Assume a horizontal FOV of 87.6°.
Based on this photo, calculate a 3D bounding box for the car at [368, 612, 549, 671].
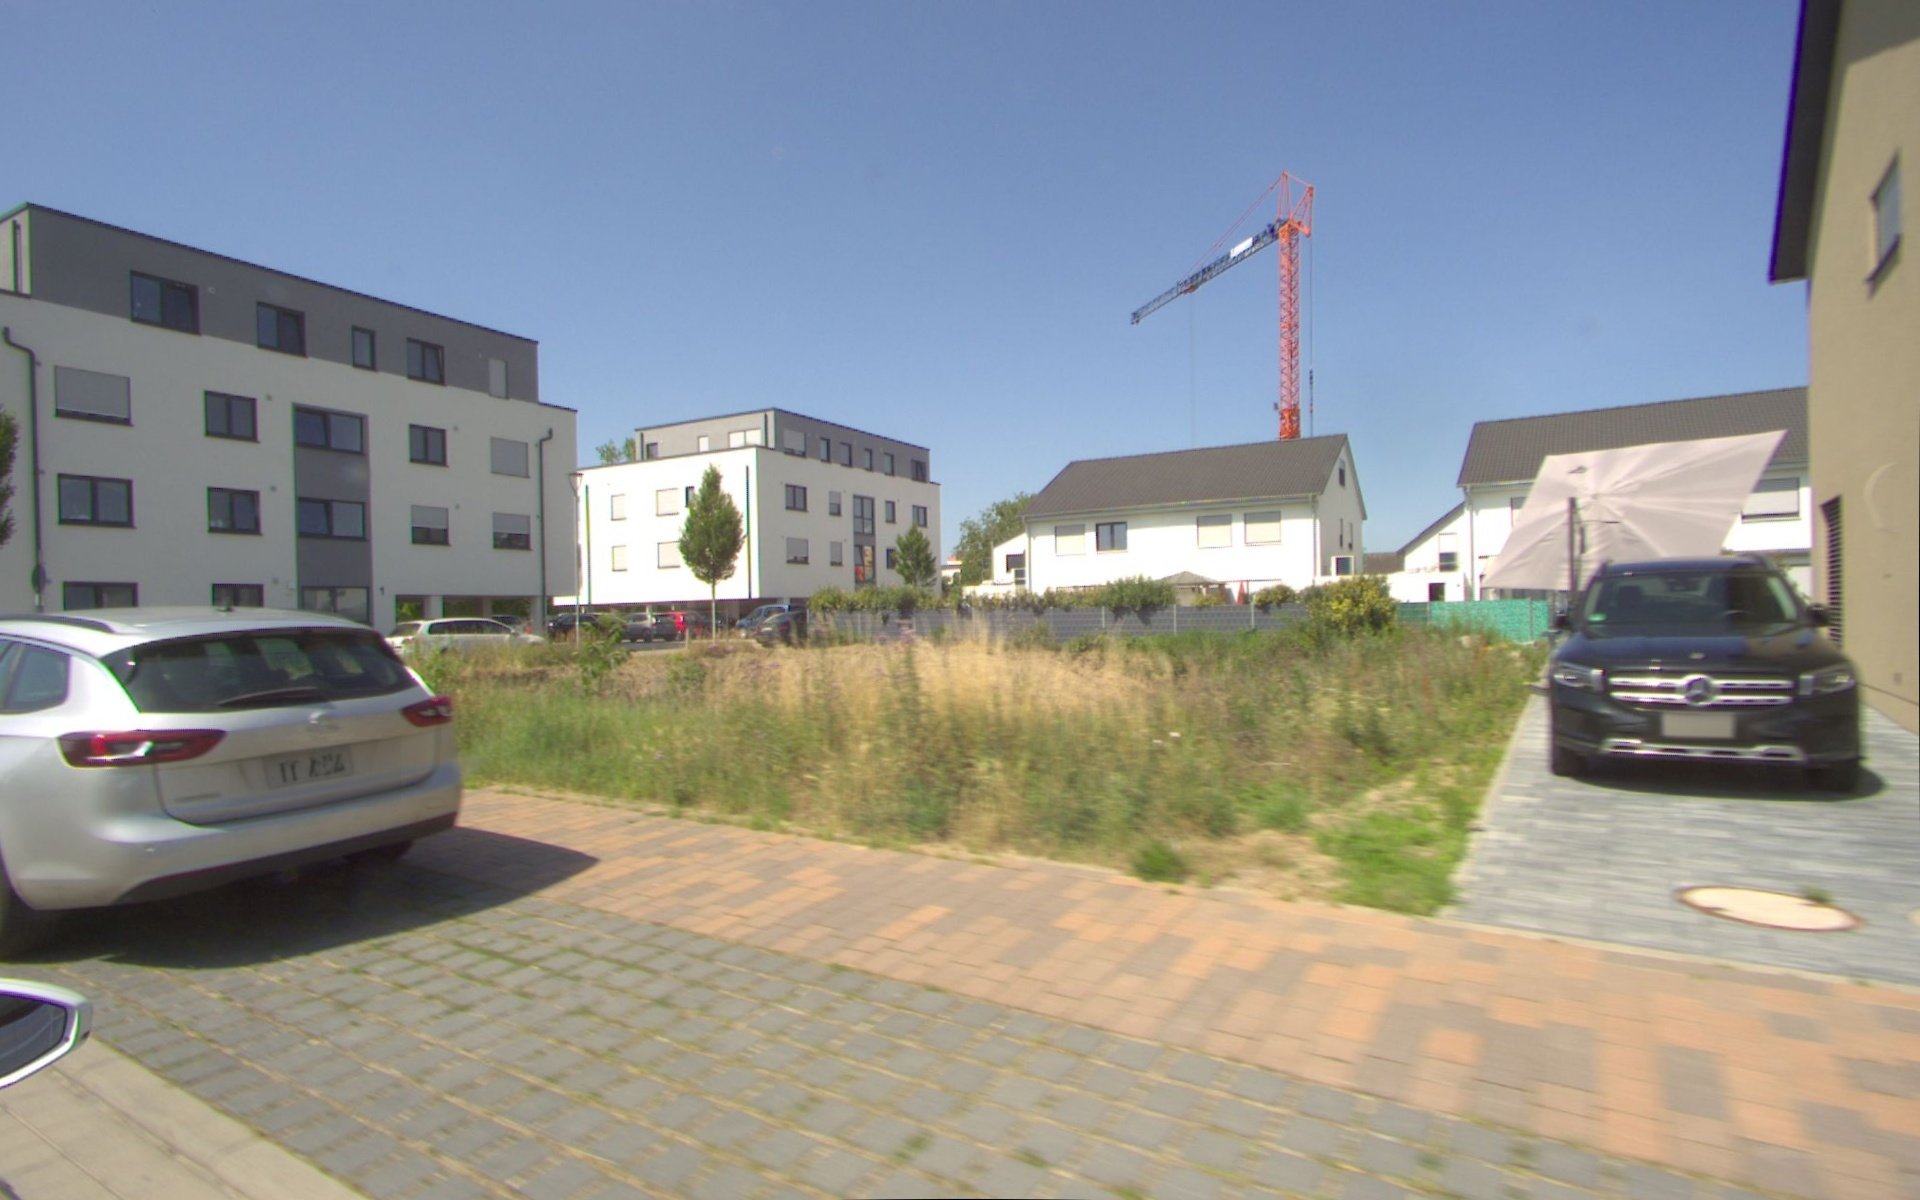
[{"bbox_3d":[-13.758,1.101,27.728,1.854,1.454,4.153,-2,-1,29],"label":"car"}]

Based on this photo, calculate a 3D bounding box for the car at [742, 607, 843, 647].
[{"bbox_3d":[-6.758,1.061,40.761,1.854,1.497,4.153,-2,-1,29],"label":"car"}]

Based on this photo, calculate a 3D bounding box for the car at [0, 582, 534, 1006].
[{"bbox_3d":[-4.980,0.706,5.799,5.217,1.532,1.914,0,1,31],"label":"car"}]

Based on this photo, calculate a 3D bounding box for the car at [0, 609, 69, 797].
[{"bbox_3d":[-10.090,0.857,8.908,5.066,1.489,1.913,0,1,33],"label":"car"}]

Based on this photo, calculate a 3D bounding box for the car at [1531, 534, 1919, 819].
[{"bbox_3d":[6.040,0.451,8.389,1.972,1.666,4.735,-2,0,32],"label":"car"}]

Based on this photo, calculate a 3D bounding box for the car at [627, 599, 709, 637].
[{"bbox_3d":[-15.492,0.957,53.082,4.110,1.833,1.874,-2,-1,30],"label":"car"}]

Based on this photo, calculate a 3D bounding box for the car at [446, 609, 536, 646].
[{"bbox_3d":[-20.671,1.200,44.127,3.625,1.522,1.874,-2,-1,30],"label":"car"}]

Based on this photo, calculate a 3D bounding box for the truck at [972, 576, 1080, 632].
[{"bbox_3d":[4.365,0.228,65.805,6.865,3.434,2.290,-1,-2,-28],"label":"truck"}]

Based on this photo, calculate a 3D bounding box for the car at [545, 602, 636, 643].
[{"bbox_3d":[-17.719,1.079,47.982,4.110,1.833,1.874,-2,-1,30],"label":"car"}]

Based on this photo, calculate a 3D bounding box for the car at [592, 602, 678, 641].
[{"bbox_3d":[-16.439,1.077,50.604,4.110,1.833,1.874,-2,-1,30],"label":"car"}]

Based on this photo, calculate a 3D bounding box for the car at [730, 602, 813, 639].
[{"bbox_3d":[-9.840,1.079,52.175,4.115,1.833,1.872,-2,-1,34],"label":"car"}]
